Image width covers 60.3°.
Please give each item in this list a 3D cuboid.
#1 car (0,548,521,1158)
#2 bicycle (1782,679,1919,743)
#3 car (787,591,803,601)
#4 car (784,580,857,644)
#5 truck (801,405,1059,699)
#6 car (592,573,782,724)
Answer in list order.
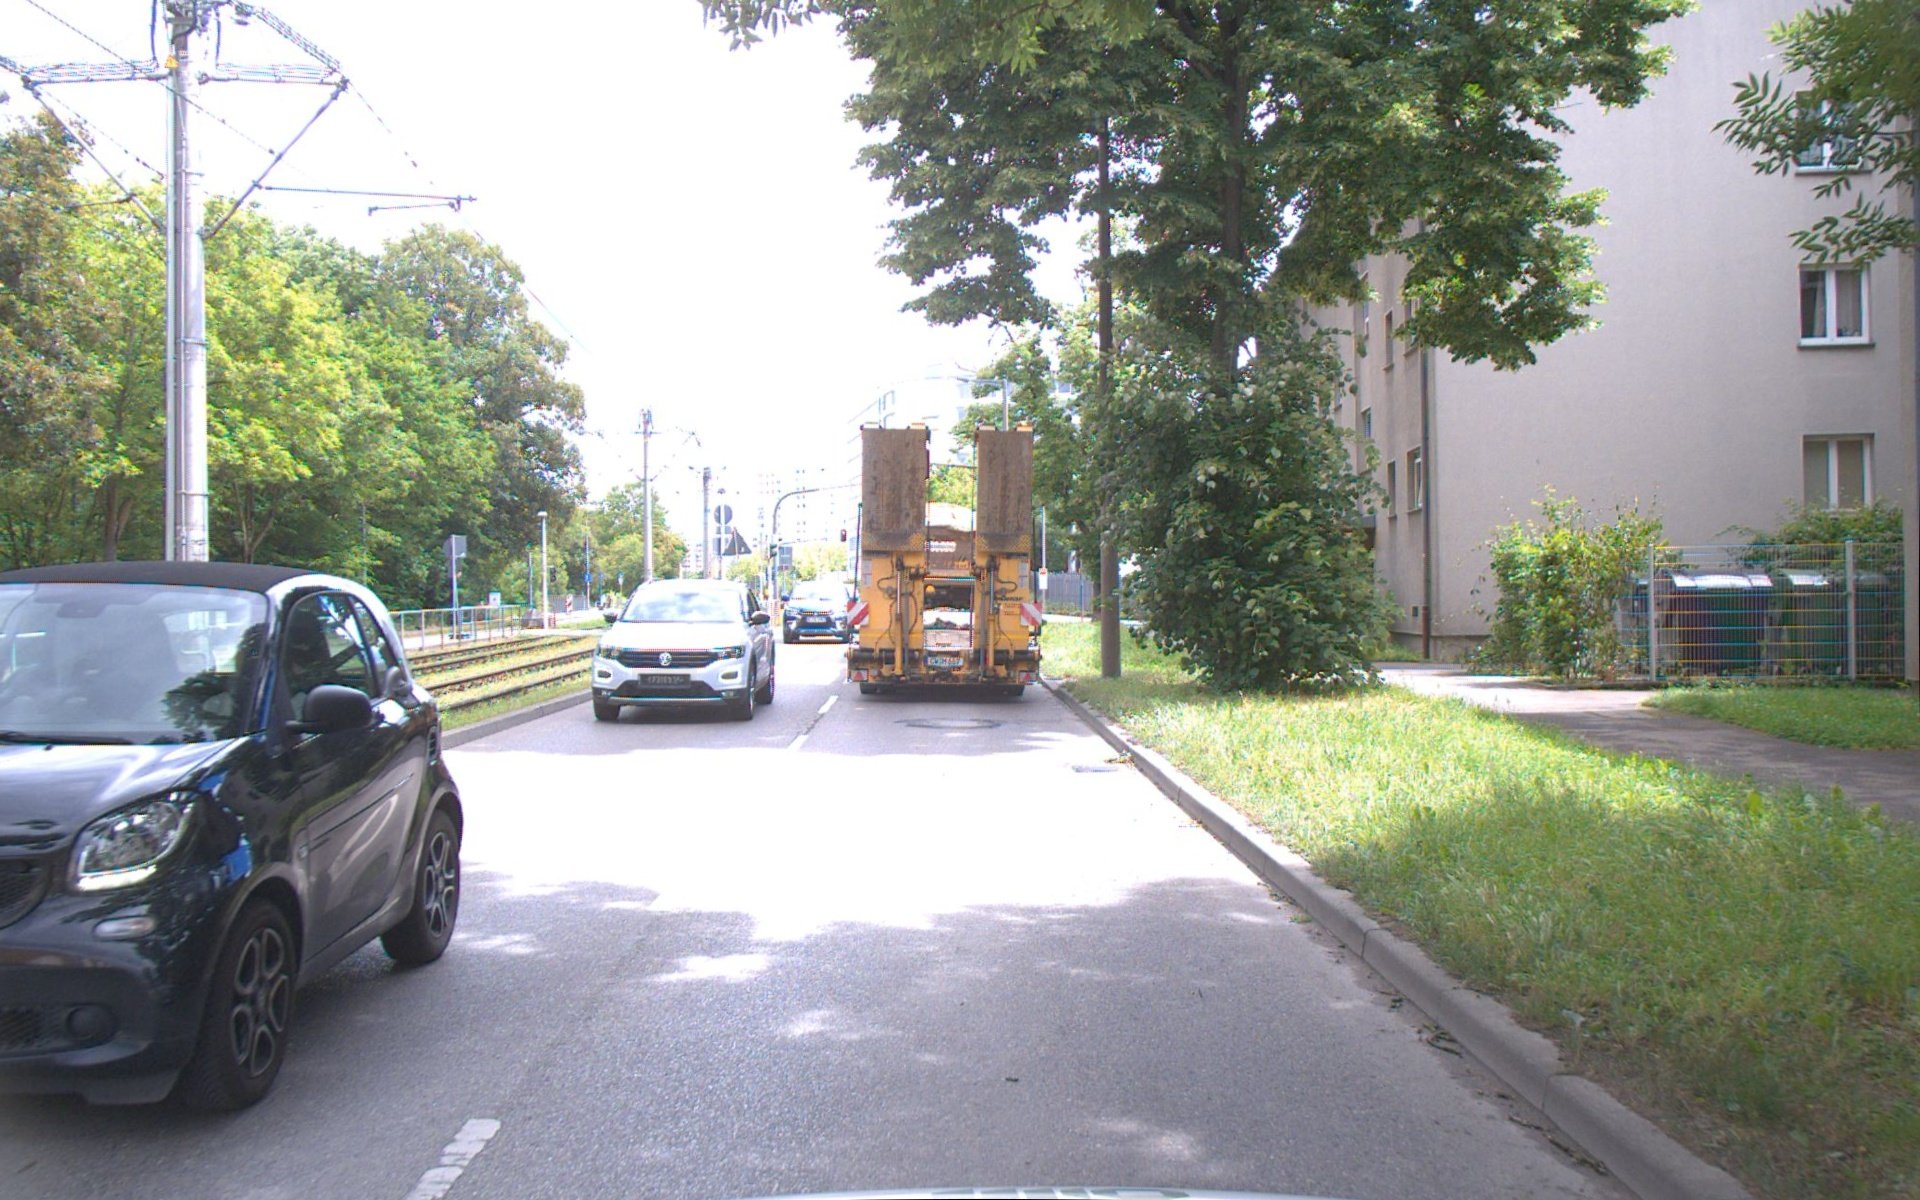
[{"bbox_3d":[-2.742,0.624,5.850,1.604,1.560,3.273,1,1,-2],"label":"car"},{"bbox_3d":[8.632,1.000,14.827,2.157,0.516,0.674,1,-1,9],"label":"bicycle"},{"bbox_3d":[-22.838,-0.550,228.730,1.956,1.445,3.993,1,0,-8],"label":"car"},{"bbox_3d":[-3.657,0.275,43.764,1.678,1.594,4.165,1,1,-2],"label":"car"},{"bbox_3d":[-0.648,-0.553,27.250,3.249,3.715,12.554,0,0,-3],"label":"truck"},{"bbox_3d":[-3.107,0.485,19.524,1.682,1.571,3.999,1,1,-2],"label":"car"}]
